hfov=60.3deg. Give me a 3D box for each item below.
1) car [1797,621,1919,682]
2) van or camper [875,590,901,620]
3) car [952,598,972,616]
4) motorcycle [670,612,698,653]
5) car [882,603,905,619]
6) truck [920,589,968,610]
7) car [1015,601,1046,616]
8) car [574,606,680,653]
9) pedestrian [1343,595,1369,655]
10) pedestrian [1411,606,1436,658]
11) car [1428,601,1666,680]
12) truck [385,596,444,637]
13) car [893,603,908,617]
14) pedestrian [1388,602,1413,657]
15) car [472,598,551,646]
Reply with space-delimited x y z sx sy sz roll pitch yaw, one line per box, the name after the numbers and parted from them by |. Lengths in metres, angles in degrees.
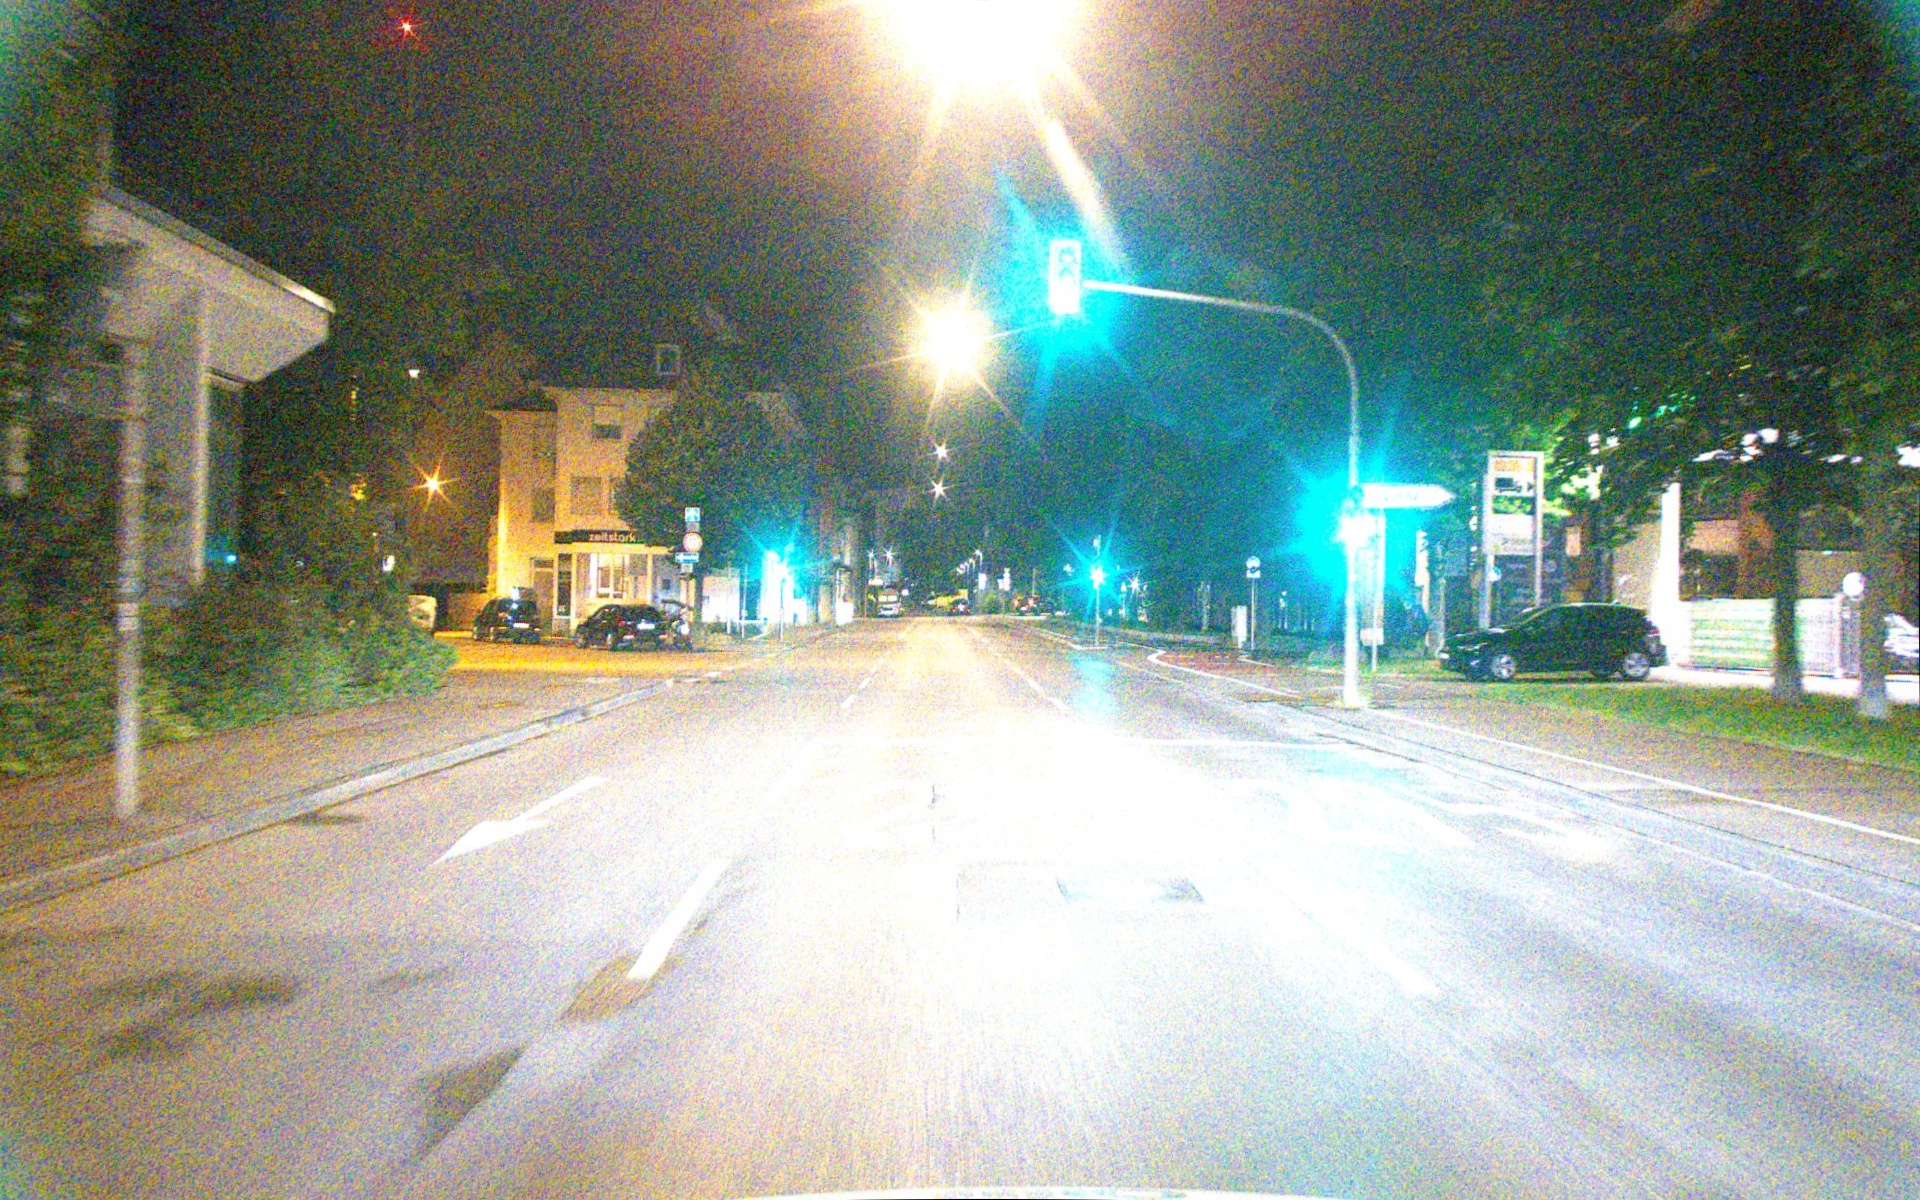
18.909 1.047 34.138 1.428 1.189 3.538 1 -1 -2 | car
-6.468 0.481 148.762 2.114 2.580 6.224 -2 0 -1 | van or camper
0.232 0.686 159.270 1.845 1.631 4.107 -1 -1 1 | car
-8.413 0.967 50.318 0.563 1.200 2.022 0 0 -18 | motorcycle
-6.433 1.042 159.651 1.804 1.533 4.733 -1 0 -8 | car
-2.293 -0.045 236.845 6.642 2.894 1.998 1 0 -4 | truck
6.600 0.785 154.614 1.630 1.366 3.623 0 -1 25 | car
-10.852 0.930 53.592 1.868 1.449 4.677 0 0 -32 | car
12.213 0.761 51.057 0.609 1.843 0.759 0 -1 -1 | pedestrian
13.936 0.962 49.726 0.561 1.560 0.633 0 -1 -1 | pedestrian
11.375 0.772 32.212 3.999 1.480 1.786 0 -1 -2 | car
-25.104 0.773 76.057 1.869 1.839 4.074 0 -1 -29 | truck
-6.762 1.119 187.855 1.643 1.594 4.103 0 -1 -1 | car
13.481 0.900 50.629 0.608 1.667 0.679 0 -1 -1 | pedestrian
-16.919 0.801 62.288 1.892 1.673 4.071 3 -2 -29 | car
